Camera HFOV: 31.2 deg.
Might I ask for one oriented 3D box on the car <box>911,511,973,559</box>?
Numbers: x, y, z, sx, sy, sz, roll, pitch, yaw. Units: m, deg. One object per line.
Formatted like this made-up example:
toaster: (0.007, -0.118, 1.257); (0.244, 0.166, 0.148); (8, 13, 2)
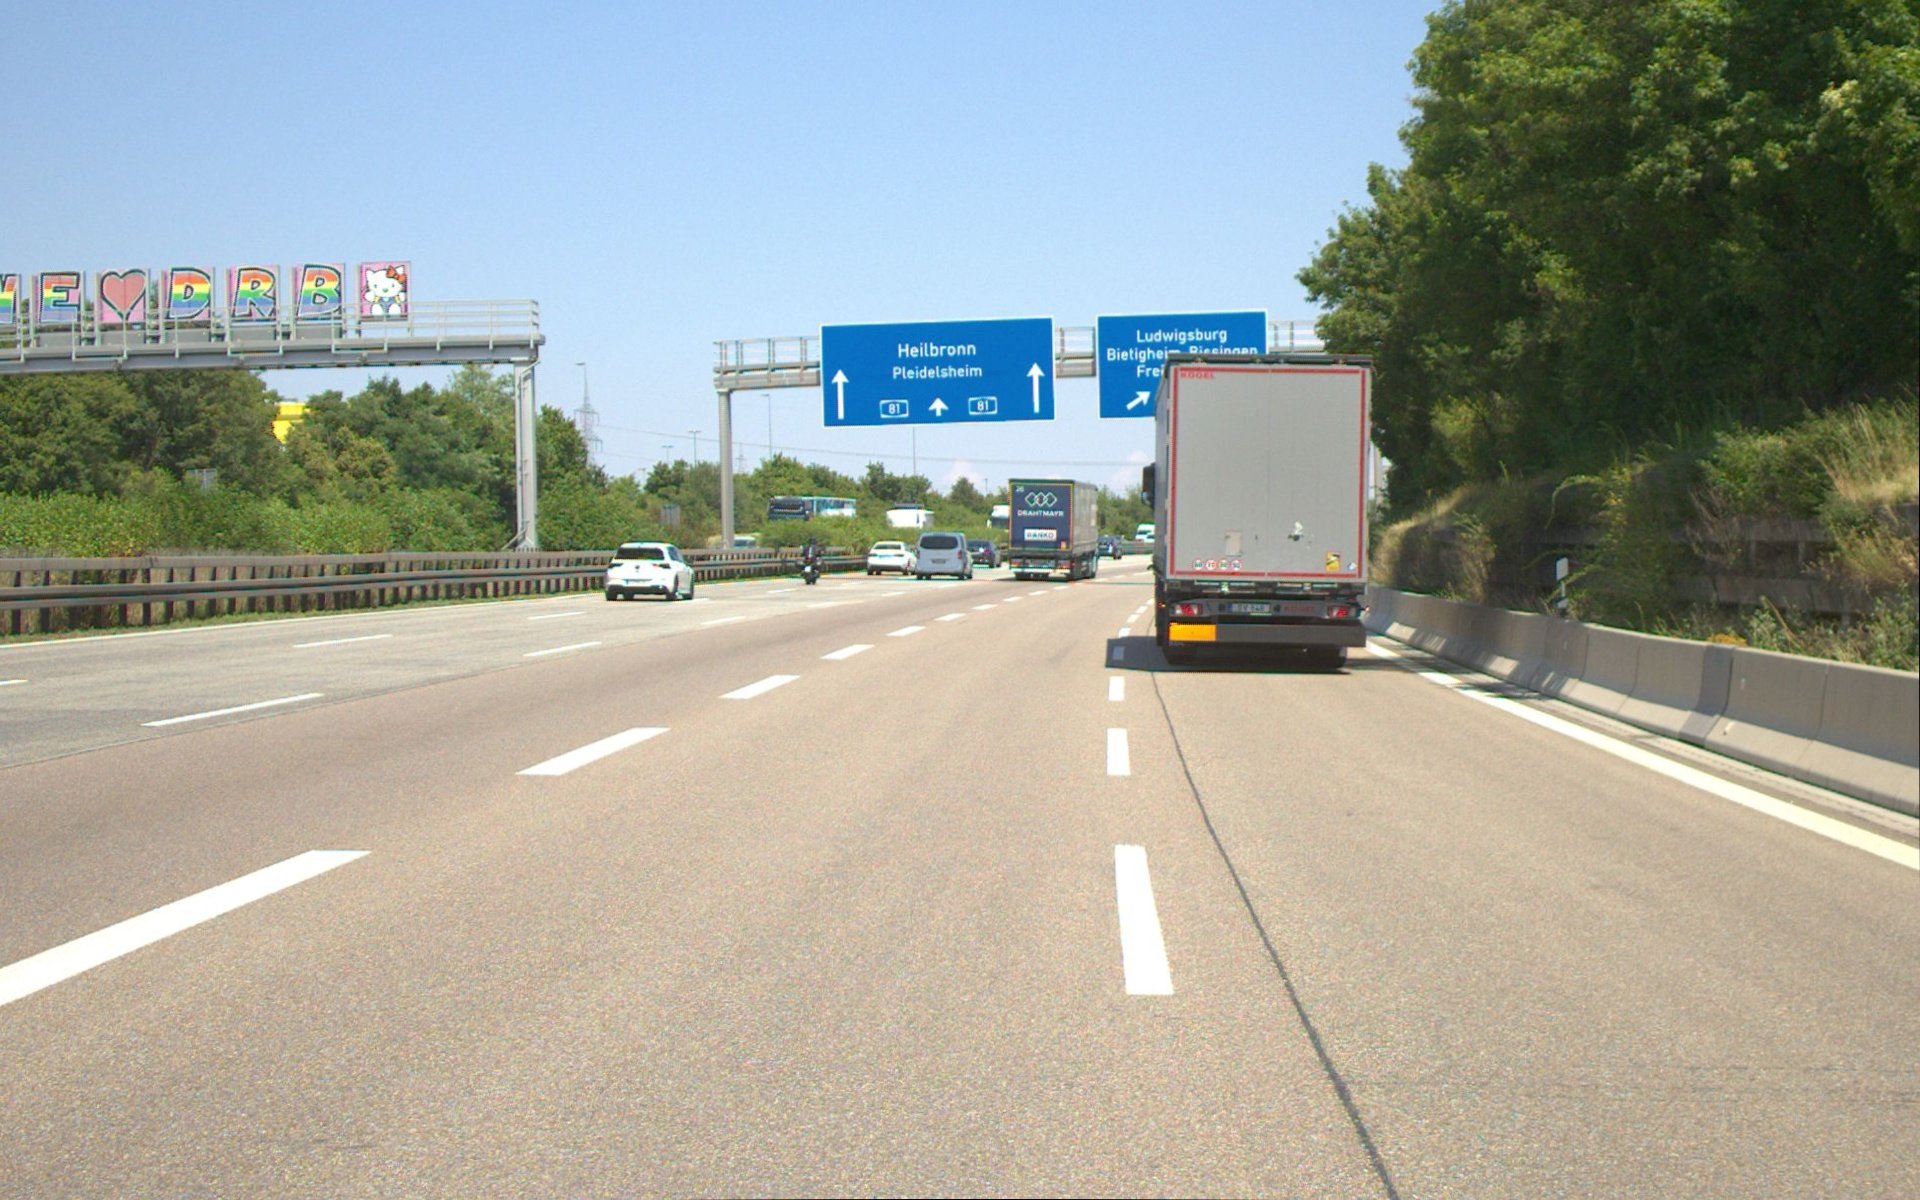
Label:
car: (-0.701, -2.552, 135.907); (1.931, 1.845, 4.691); (0, 1, 6)

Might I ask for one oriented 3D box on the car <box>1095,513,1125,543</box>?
car: (10.710, -5.146, 245.049); (1.877, 1.995, 5.124); (0, 0, 6)

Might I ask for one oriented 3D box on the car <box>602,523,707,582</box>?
car: (-7.673, -1.190, 86.620); (1.782, 1.435, 4.668); (1, 1, 6)

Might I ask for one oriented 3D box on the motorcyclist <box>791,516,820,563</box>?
motorcyclist: (-5.310, -2.086, 118.205); (0.893, 1.591, 1.299); (0, 0, 3)

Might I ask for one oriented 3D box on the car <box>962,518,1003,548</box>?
car: (1.206, -3.540, 181.522); (1.757, 1.404, 5.038); (0, -1, 5)

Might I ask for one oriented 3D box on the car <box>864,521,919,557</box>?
car: (-2.949, -2.634, 148.288); (1.877, 1.435, 5.125); (0, 0, 4)

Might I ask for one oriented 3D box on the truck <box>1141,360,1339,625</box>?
truck: (4.460, -1.748, 56.034); (2.928, 4.001, 7.583); (0, 2, 3)

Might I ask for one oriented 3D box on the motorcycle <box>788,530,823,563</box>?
motorcycle: (-5.304, -1.836, 118.199); (0.913, 1.085, 2.849); (0, 0, 3)

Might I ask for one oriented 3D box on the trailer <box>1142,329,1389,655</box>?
trailer: (4.087, -1.511, 48.412); (2.928, 4.001, 12.038); (0, 2, 3)

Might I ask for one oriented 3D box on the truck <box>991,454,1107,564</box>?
truck: (3.808, -3.717, 142.164); (3.748, 4.255, 14.493); (1, 1, 5)
